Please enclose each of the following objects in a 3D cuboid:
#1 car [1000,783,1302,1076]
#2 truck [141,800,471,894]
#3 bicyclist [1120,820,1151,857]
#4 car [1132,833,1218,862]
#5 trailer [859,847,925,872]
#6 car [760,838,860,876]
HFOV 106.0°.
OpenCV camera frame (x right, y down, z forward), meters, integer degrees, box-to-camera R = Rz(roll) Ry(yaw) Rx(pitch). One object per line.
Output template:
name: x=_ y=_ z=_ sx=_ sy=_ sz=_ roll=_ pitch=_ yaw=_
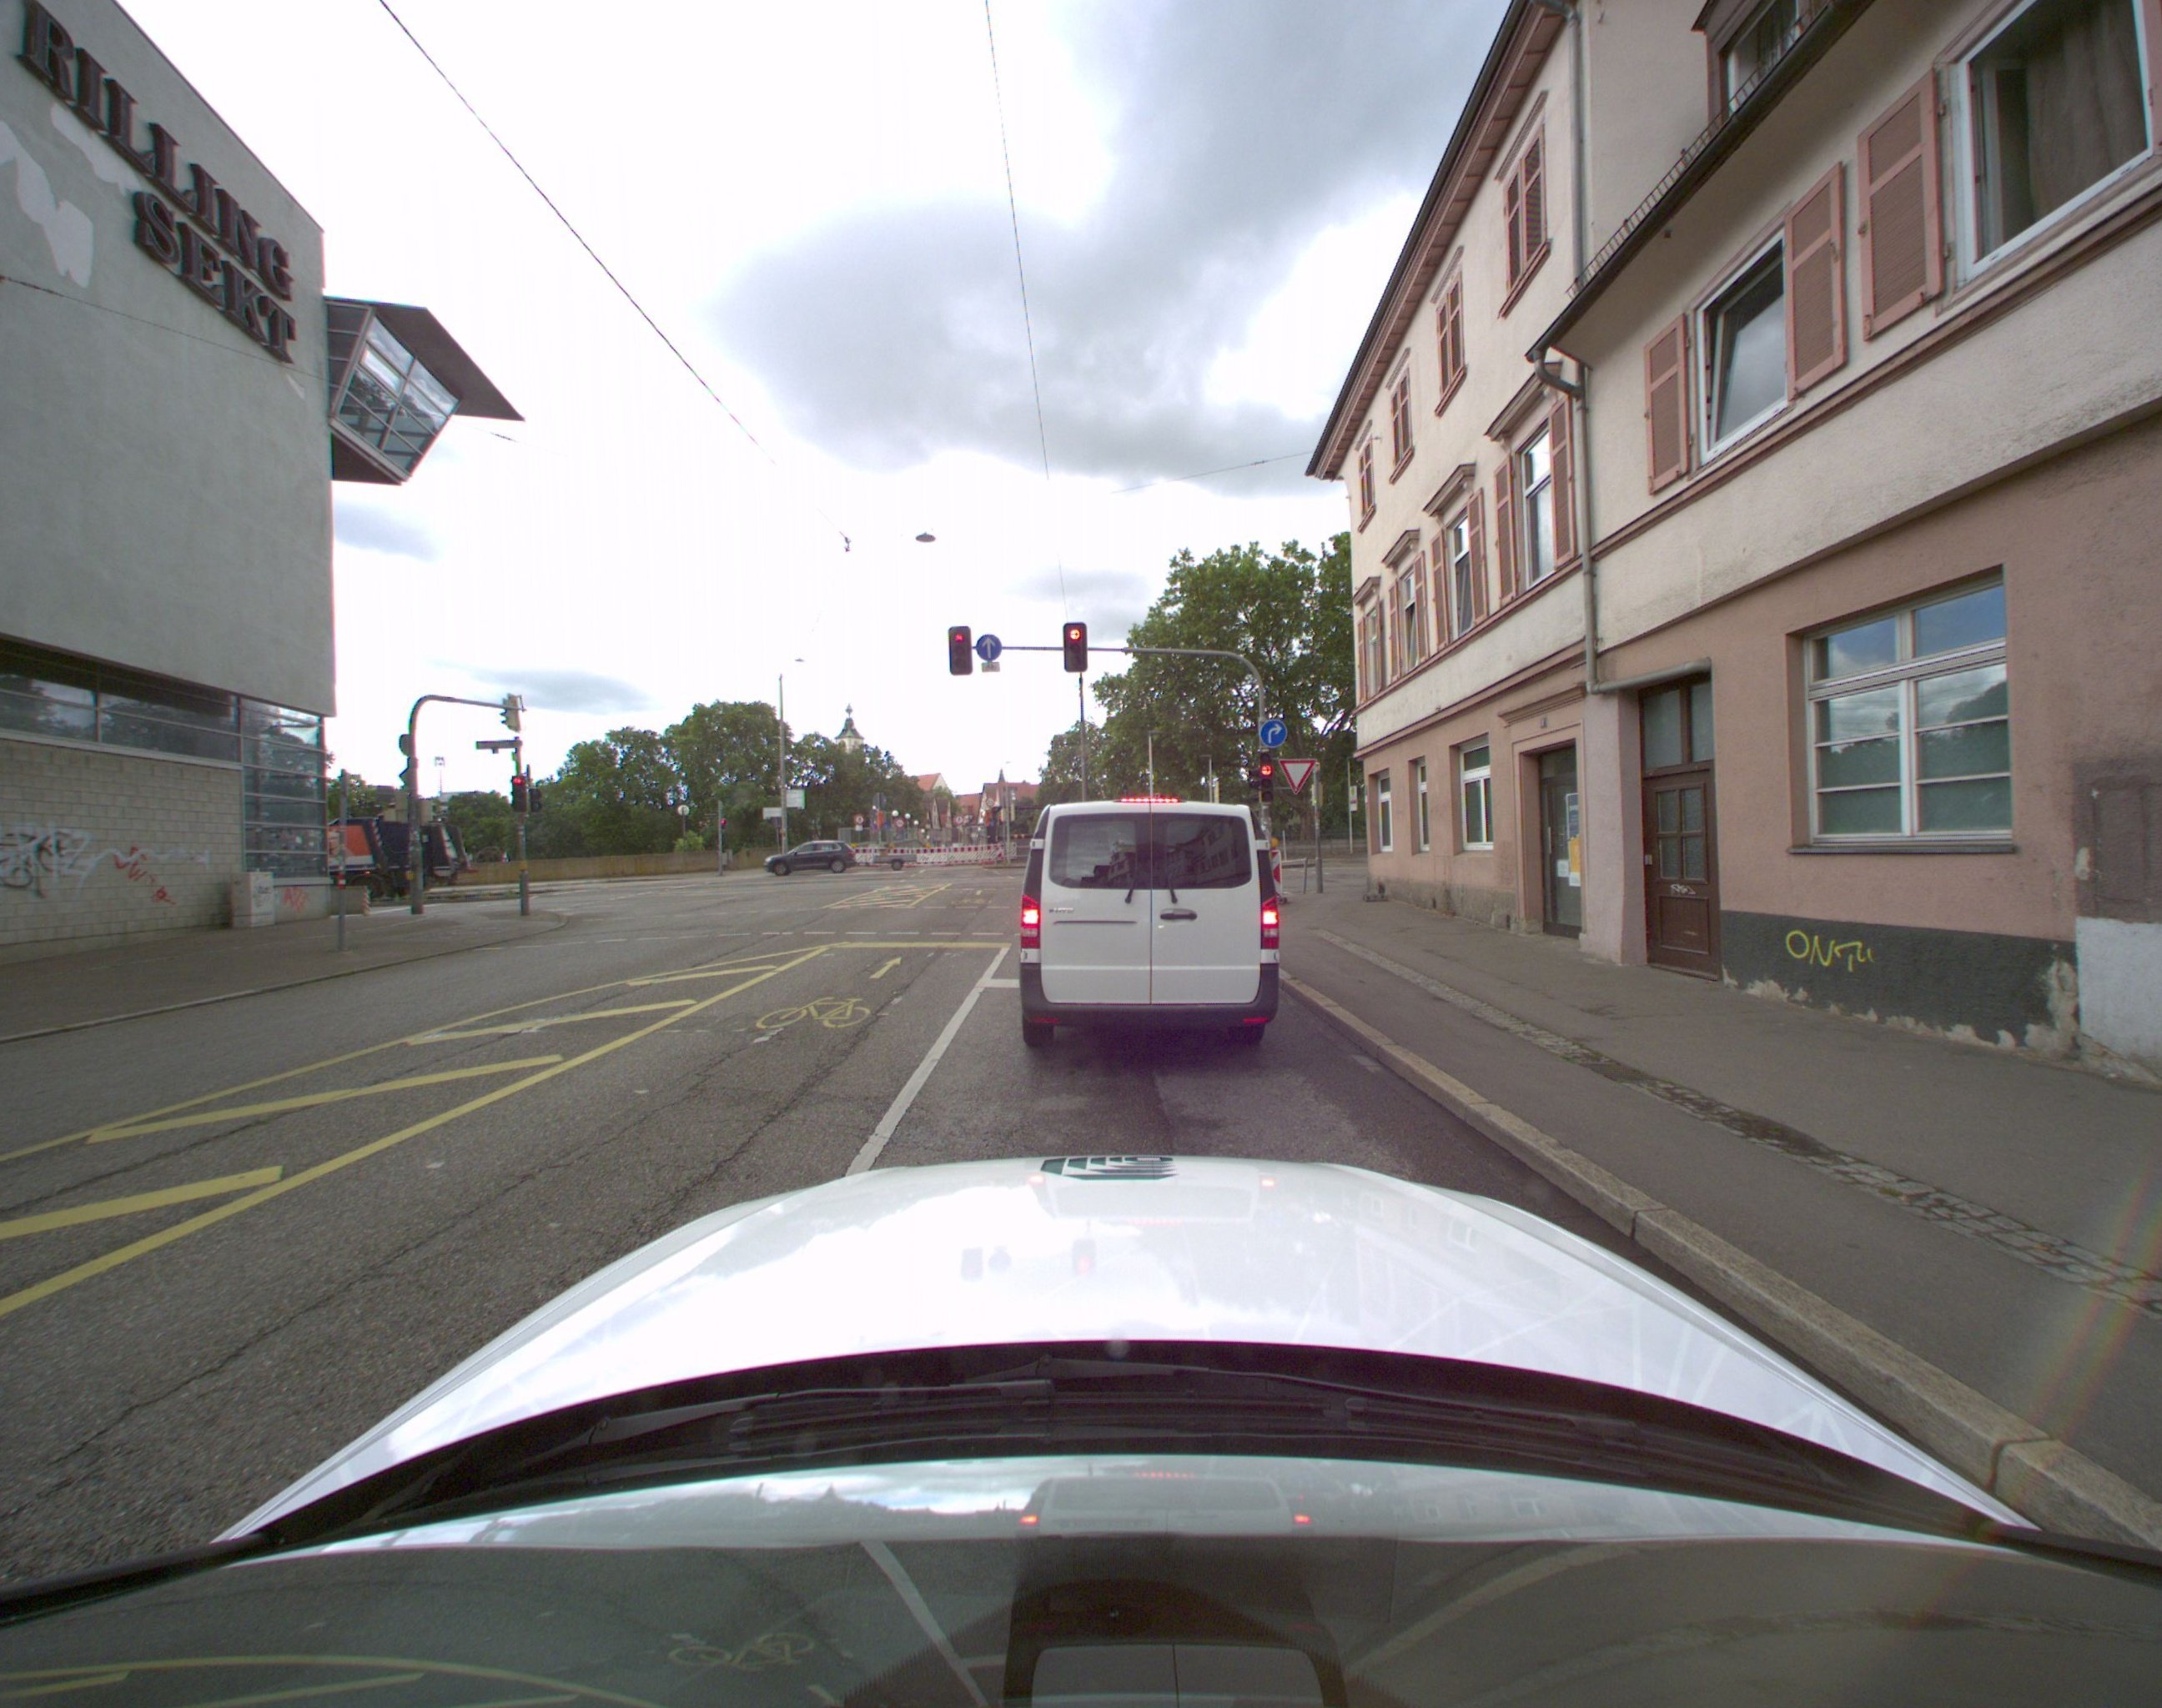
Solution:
car: x=0.499 y=0.436 z=7.519 sx=1.987 sy=1.922 sz=4.250 roll=-1 pitch=2 yaw=1
truck: x=-32.757 y=-0.358 z=34.980 sx=10.212 sy=3.696 sz=2.257 roll=-1 pitch=0 yaw=-18
bicyclist: x=3.287 y=-0.911 z=49.050 sx=1.565 sy=2.156 sz=1.242 roll=-2 pitch=0 yaw=-12
car: x=5.113 y=-0.334 z=44.529 sx=4.275 sy=1.452 sz=1.894 roll=-1 pitch=0 yaw=-10
trailer: x=-9.697 y=0.276 z=41.763 sx=3.206 sy=1.158 sz=1.990 roll=-1 pitch=0 yaw=-15
car: x=-13.468 y=0.139 z=40.745 sx=4.527 sy=1.634 sz=1.990 roll=-3 pitch=0 yaw=-15
